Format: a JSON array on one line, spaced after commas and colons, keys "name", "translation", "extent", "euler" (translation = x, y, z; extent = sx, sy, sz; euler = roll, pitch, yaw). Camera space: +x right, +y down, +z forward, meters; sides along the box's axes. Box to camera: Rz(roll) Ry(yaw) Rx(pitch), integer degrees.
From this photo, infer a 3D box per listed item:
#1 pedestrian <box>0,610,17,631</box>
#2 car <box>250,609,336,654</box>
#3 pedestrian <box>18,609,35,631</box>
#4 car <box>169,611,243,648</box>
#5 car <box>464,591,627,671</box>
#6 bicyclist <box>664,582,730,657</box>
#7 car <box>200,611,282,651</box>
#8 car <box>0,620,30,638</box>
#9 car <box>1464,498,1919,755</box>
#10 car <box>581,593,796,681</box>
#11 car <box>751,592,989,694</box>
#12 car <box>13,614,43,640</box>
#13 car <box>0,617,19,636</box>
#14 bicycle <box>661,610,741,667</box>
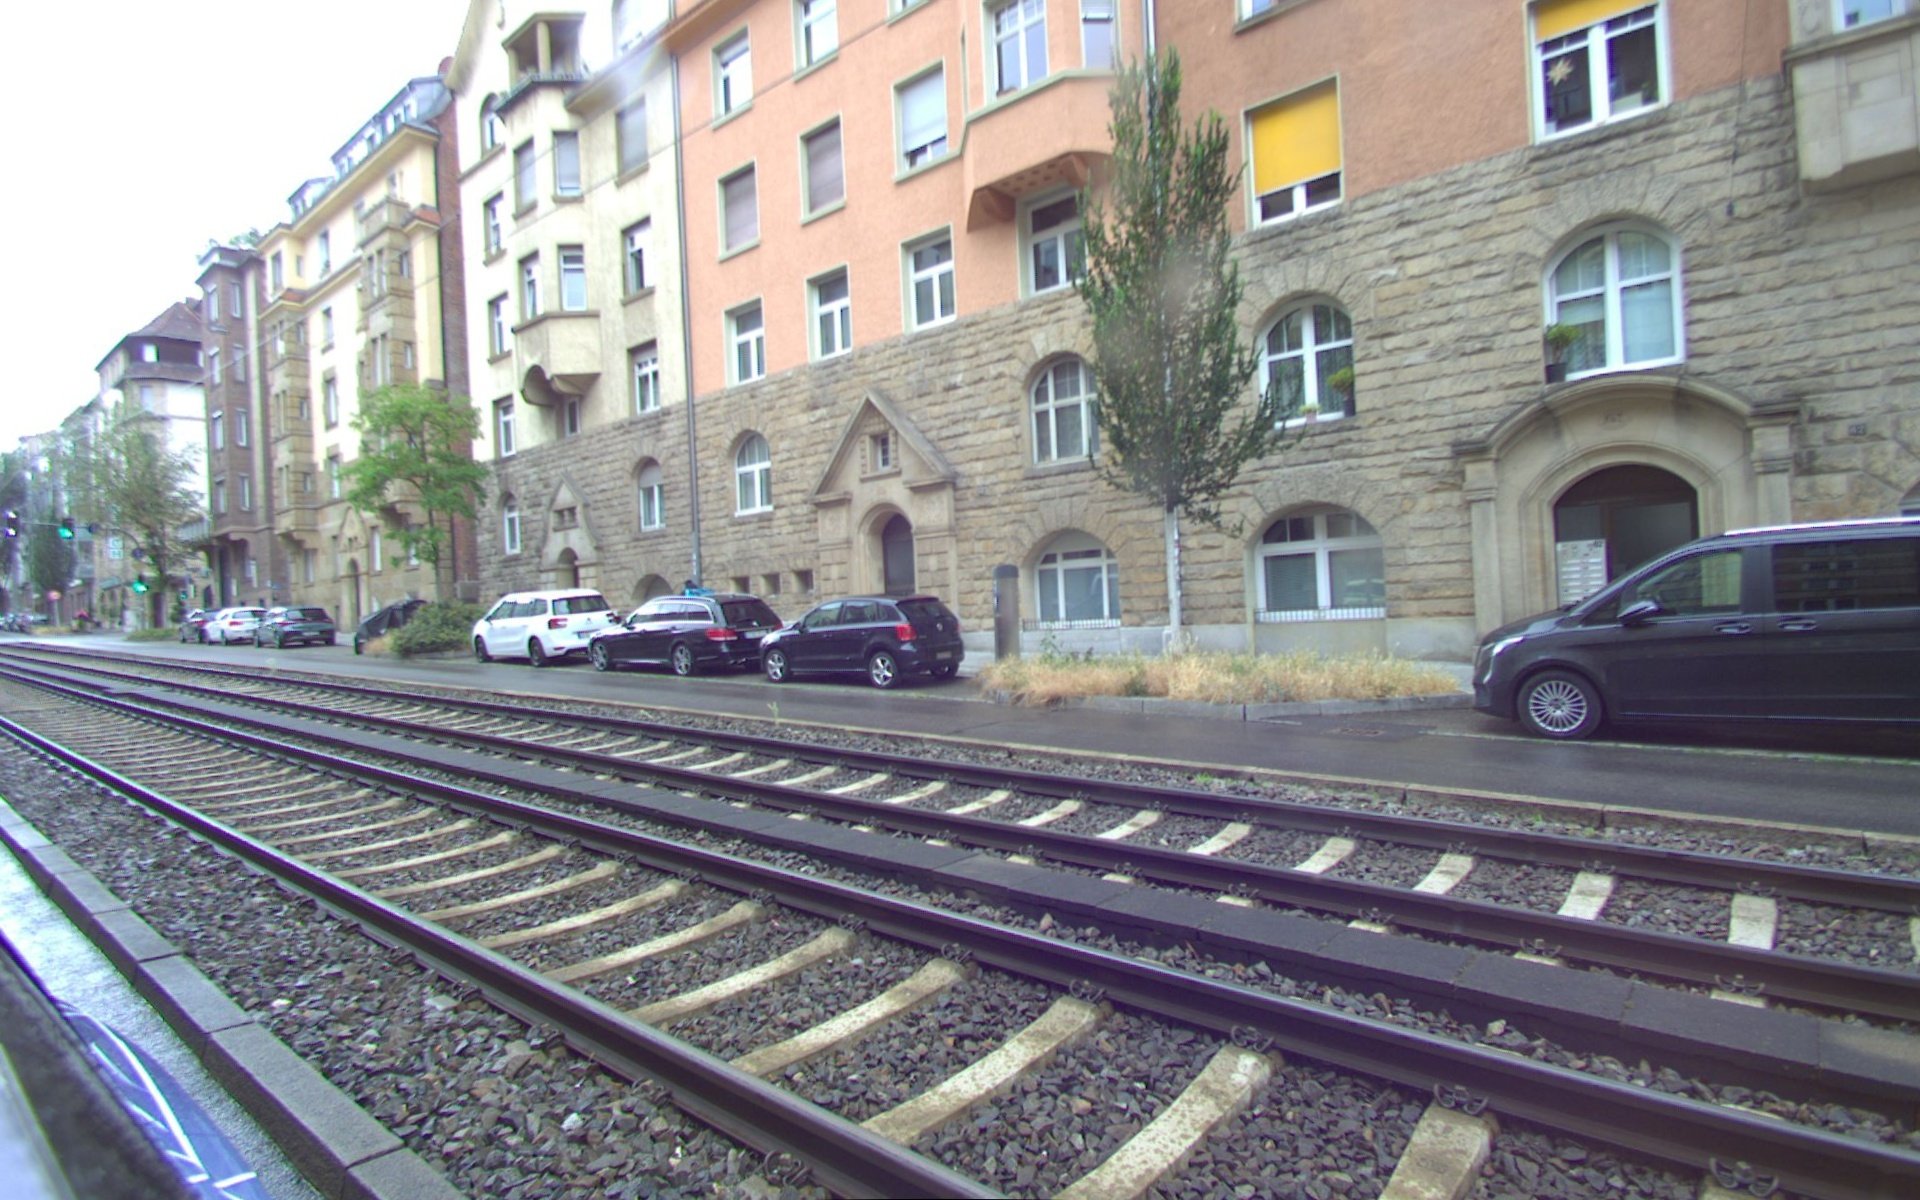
[{"name": "pedestrian", "translation": [-89.841, 1.918, 95.553], "extent": [1.163, 1.972, 1.042], "euler": [-1, 0, 43]}, {"name": "car", "translation": [-23.674, 1.080, 35.864], "extent": [3.845, 1.452, 1.656], "euler": [-1, 1, 43]}, {"name": "pedestrian", "translation": [-89.095, 1.907, 96.584], "extent": [1.163, 1.972, 1.042], "euler": [-1, 0, 43]}, {"name": "car", "translation": [-32.133, 1.249, 43.090], "extent": [3.843, 1.452, 1.748], "euler": [-1, 0, 41]}, {"name": "car", "translation": [-9.737, 0.688, 23.614], "extent": [4.144, 1.668, 1.843], "euler": [-1, 0, 41]}, {"name": "bicyclist", "translation": [-5.895, 0.429, 22.685], "extent": [1.253, 1.609, 0.875], "euler": [-1, 0, 43]}, {"name": "car", "translation": [-28.275, 1.195, 39.767], "extent": [4.030, 1.452, 1.748], "euler": [-1, 1, 42]}, {"name": "car", "translation": [-74.277, 2.261, 79.347], "extent": [3.843, 1.321, 1.563], "euler": [-1, 0, 41]}, {"name": "car", "translation": [7.354, 0.203, 8.983], "extent": [4.823, 1.956, 1.973], "euler": [-1, 0, 41]}, {"name": "car", "translation": [-5.429, 0.683, 19.940], "extent": [4.599, 1.506, 1.824], "euler": [-1, 0, 41]}, {"name": "car", "translation": [-1.548, 0.655, 16.918], "extent": [3.638, 1.508, 1.912], "euler": [-1, 0, 38]}, {"name": "car", "translation": [-69.028, 1.972, 74.982], "extent": [1.561, 1.691, 3.794], "euler": [-2, 2, -43]}, {"name": "car", "translation": [-80.904, 2.268, 85.421], "extent": [3.843, 1.527, 1.748], "euler": [-1, 0, 41]}, {"name": "bicycle", "translation": [-5.811, 0.845, 22.632], "extent": [0.814, 1.195, 2.039], "euler": [-2, 0, -44]}]
